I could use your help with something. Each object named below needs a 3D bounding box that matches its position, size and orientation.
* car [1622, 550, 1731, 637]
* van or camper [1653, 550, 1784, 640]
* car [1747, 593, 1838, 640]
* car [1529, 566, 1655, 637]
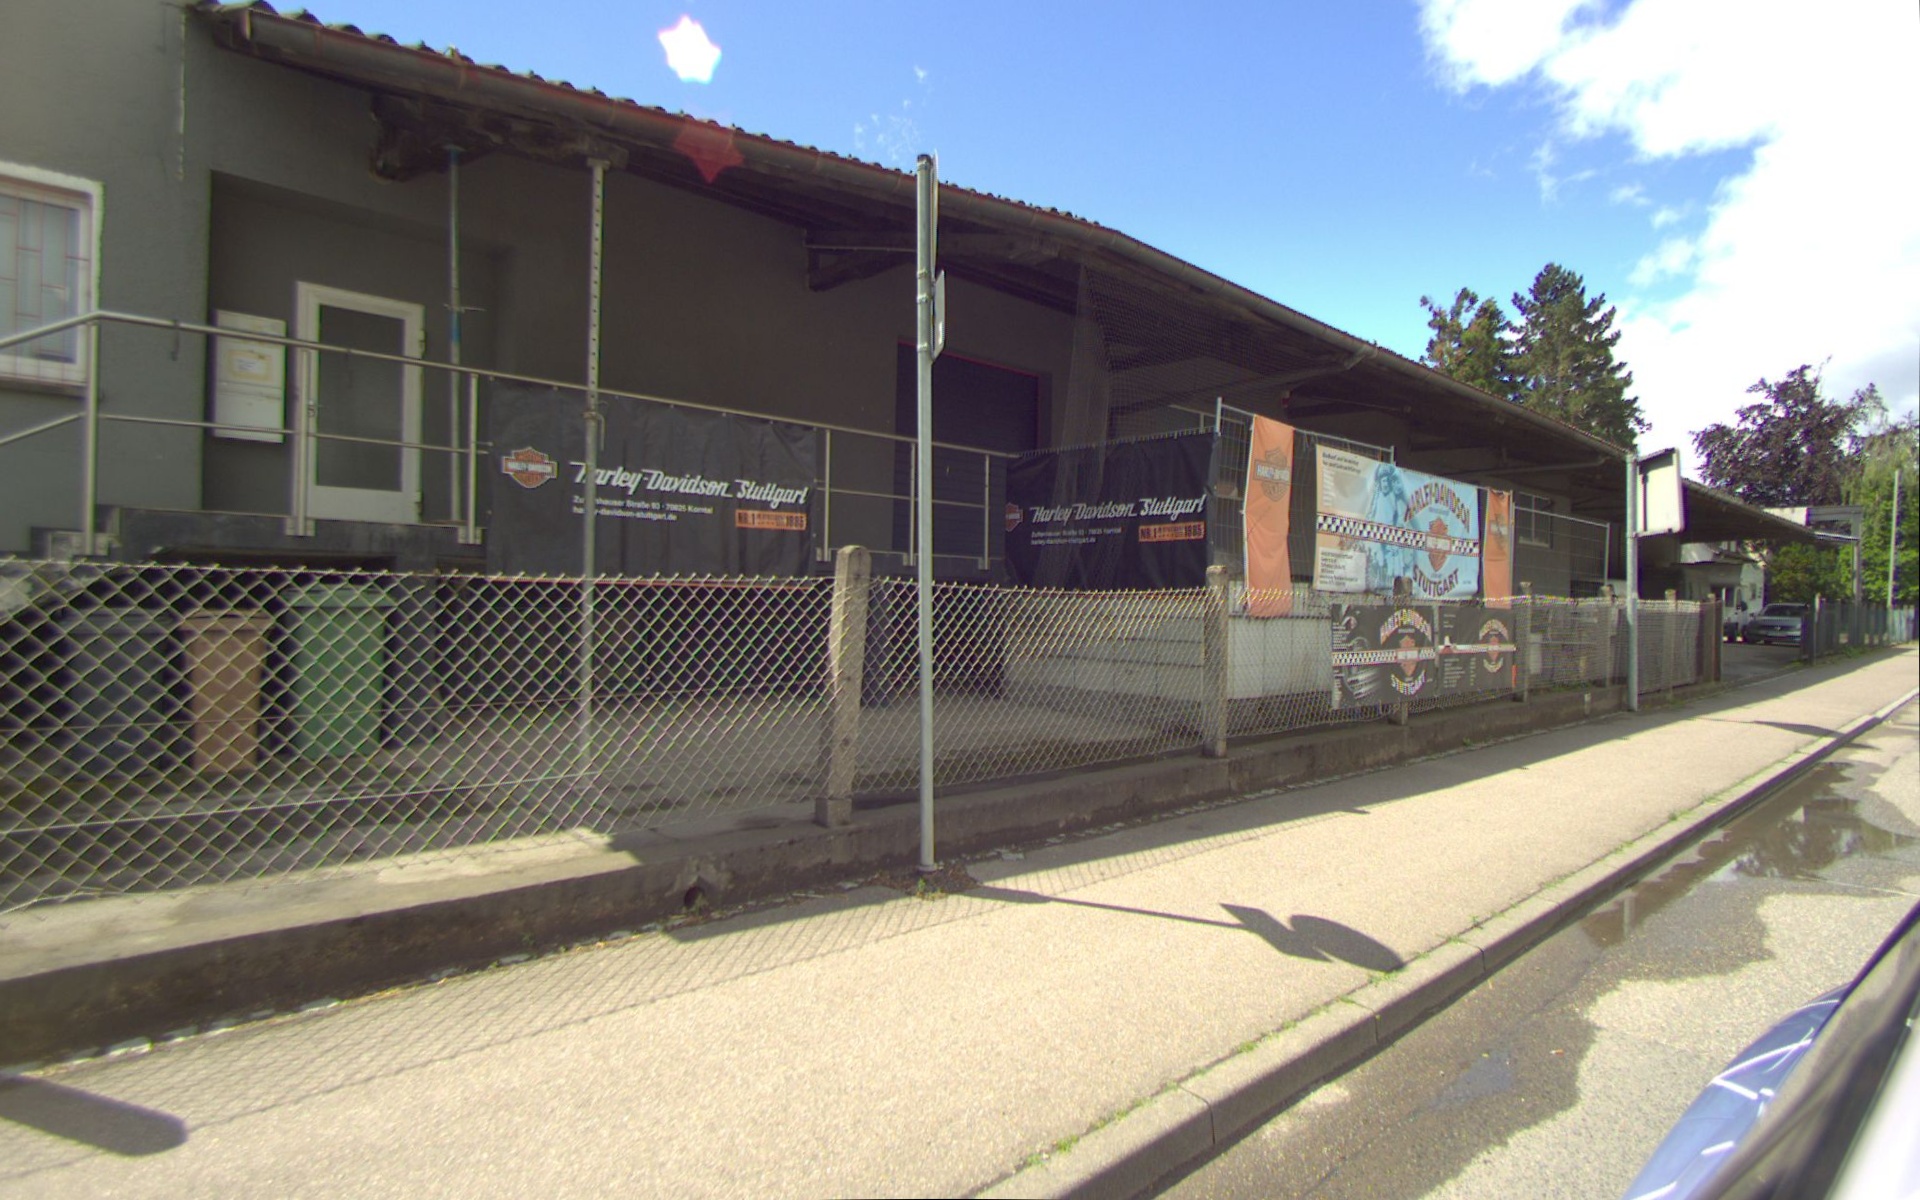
[{"bbox_3d":[24.263,-0.155,34.190,5.405,2.715,2.019,2,-1,-44],"label":"car"},{"bbox_3d":[28.675,-0.179,38.137,6.798,3.099,2.883,0,0,-44],"label":"van or camper"},{"bbox_3d":[28.693,0.564,34.815,4.842,1.508,1.767,1,0,-43],"label":"car"},{"bbox_3d":[18.867,0.066,30.115,4.770,1.934,1.996,1,0,-43],"label":"car"}]
